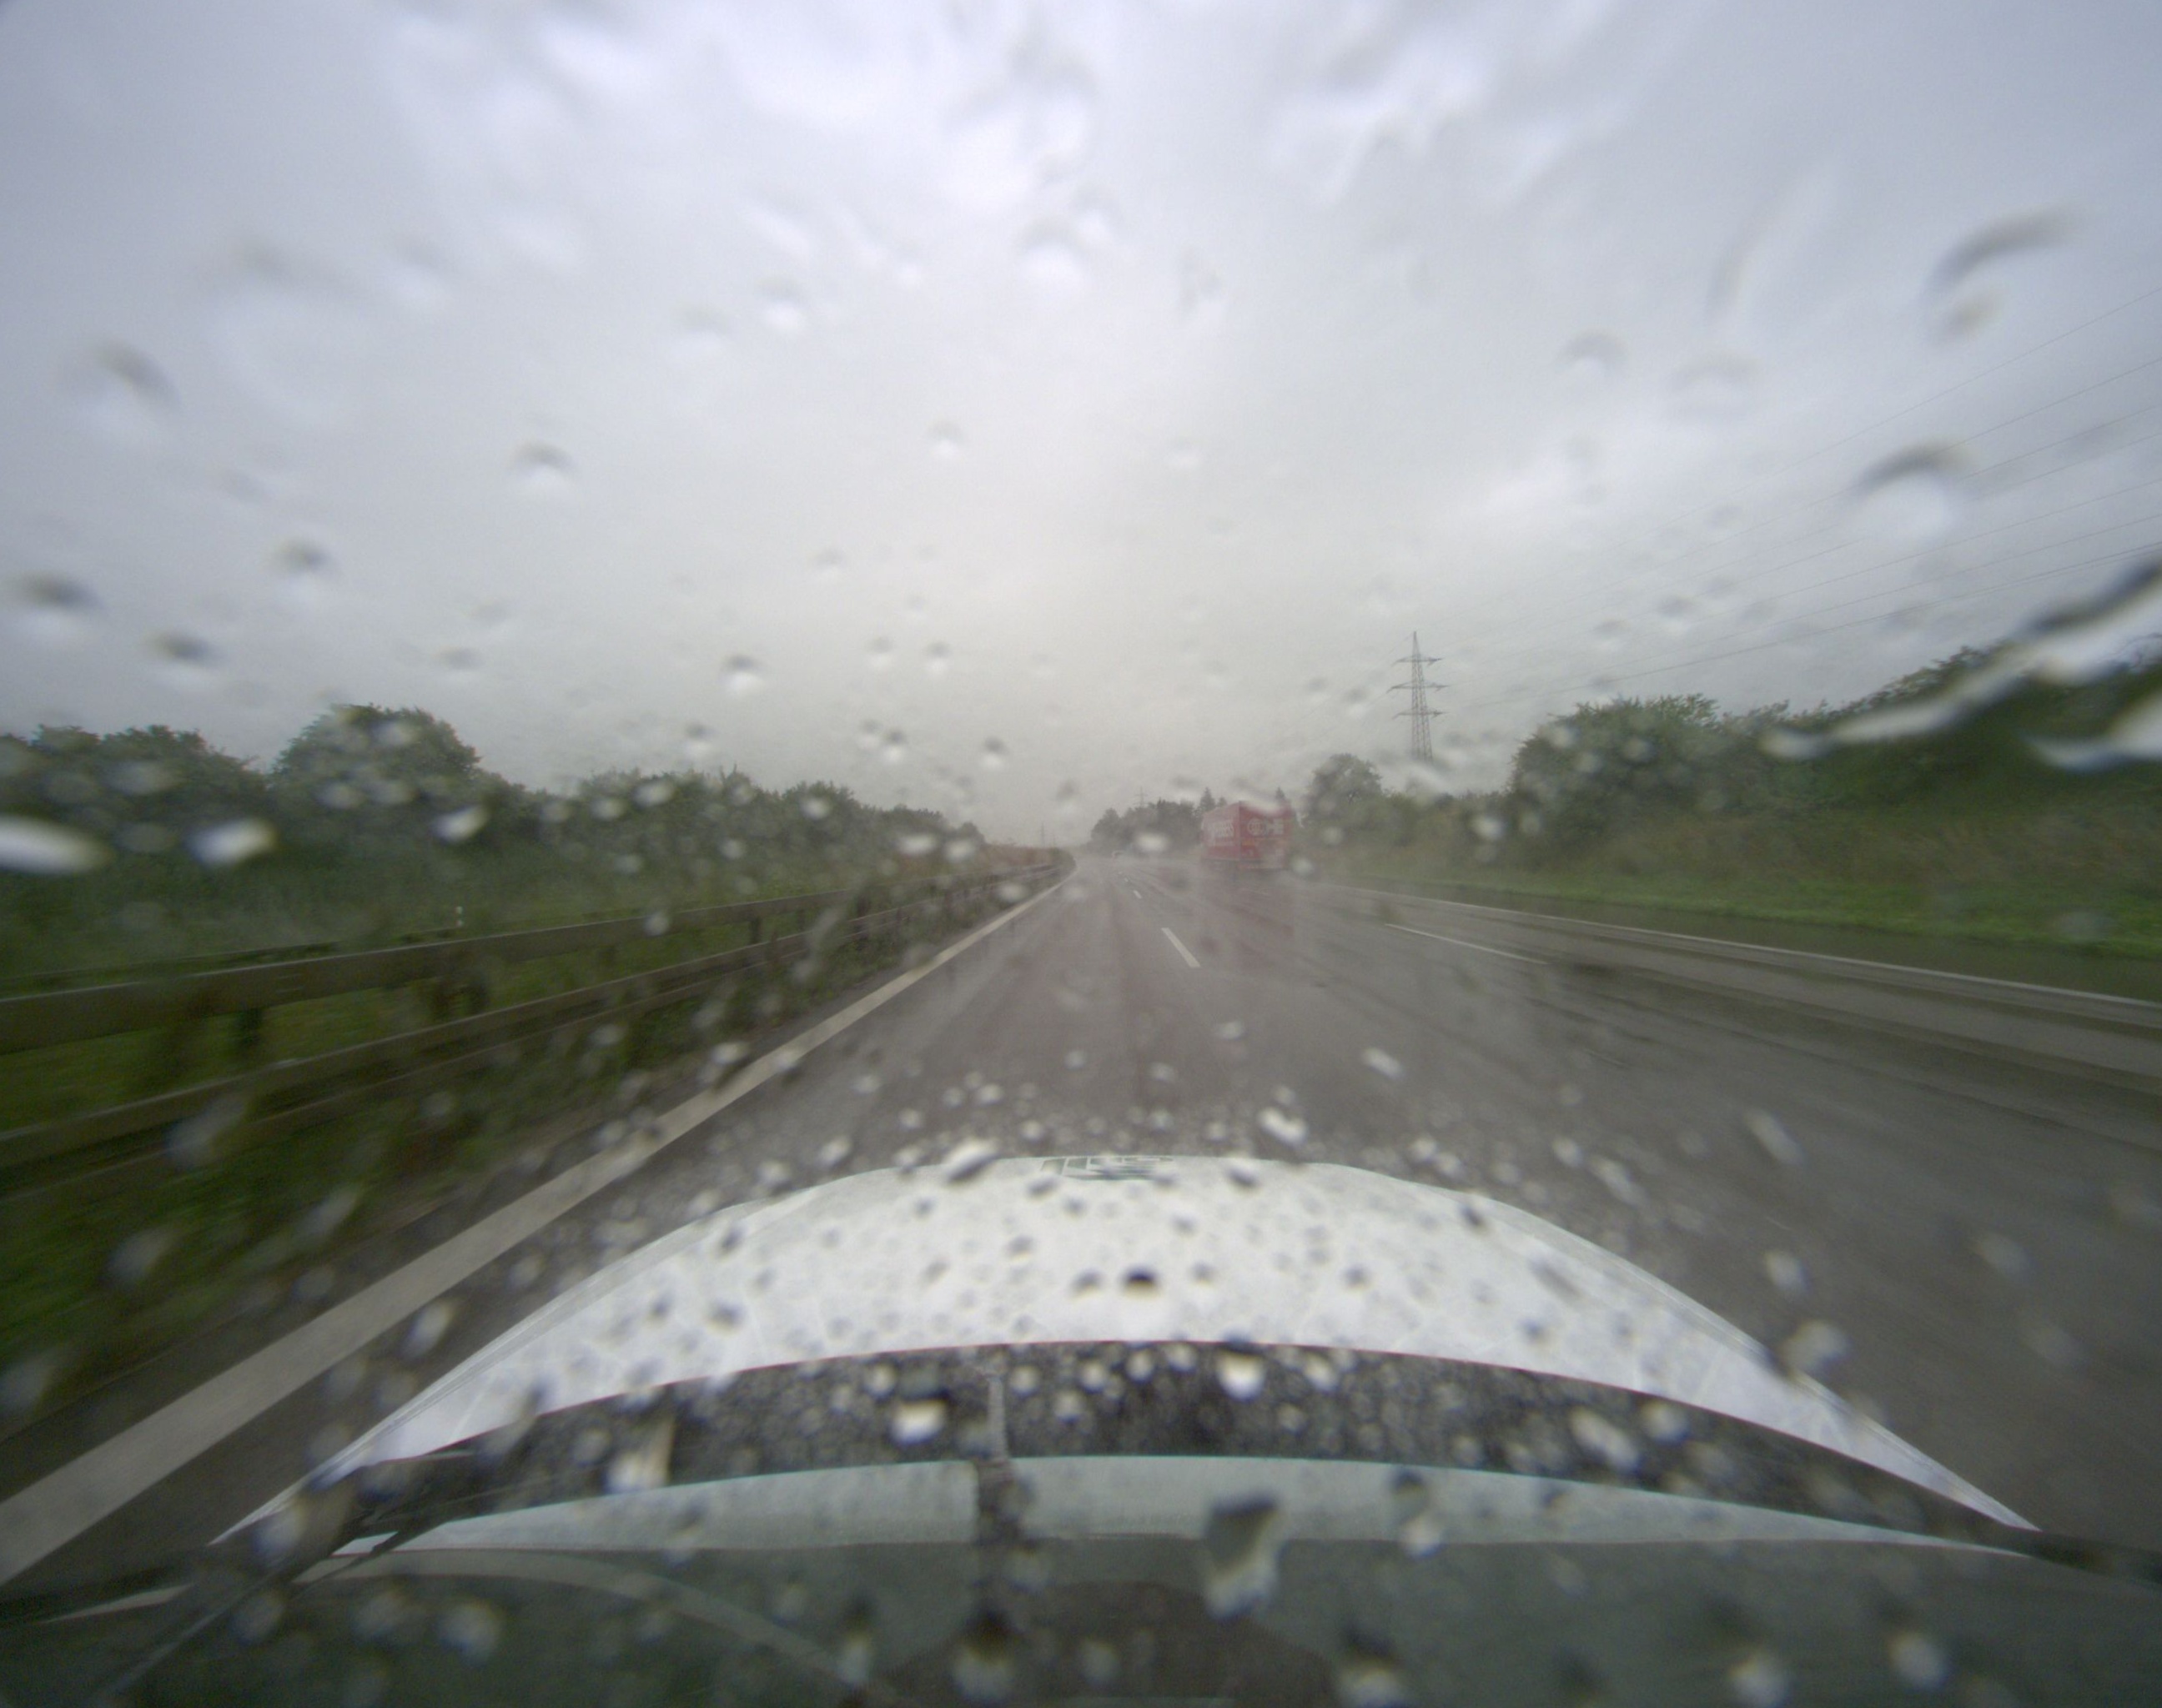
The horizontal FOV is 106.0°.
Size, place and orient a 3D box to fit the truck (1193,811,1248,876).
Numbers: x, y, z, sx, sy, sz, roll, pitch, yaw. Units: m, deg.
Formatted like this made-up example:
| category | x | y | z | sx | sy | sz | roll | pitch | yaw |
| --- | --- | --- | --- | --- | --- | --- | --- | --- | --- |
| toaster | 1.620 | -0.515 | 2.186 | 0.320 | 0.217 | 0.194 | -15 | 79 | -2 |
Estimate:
| category | x | y | z | sx | sy | sz | roll | pitch | yaw |
| --- | --- | --- | --- | --- | --- | --- | --- | --- | --- |
| truck | 9.187 | -0.658 | 54.187 | 2.611 | 3.955 | 5.434 | -4 | 0 | 1 |

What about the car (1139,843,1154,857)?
| category | x | y | z | sx | sy | sz | roll | pitch | yaw |
| --- | --- | --- | --- | --- | --- | --- | --- | --- | --- |
| car | 10.487 | -0.657 | 129.985 | 1.802 | 2.158 | 3.997 | -4 | 0 | -2 |

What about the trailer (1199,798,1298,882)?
| category | x | y | z | sx | sy | sz | roll | pitch | yaw |
| --- | --- | --- | --- | --- | --- | --- | --- | --- | --- |
| trailer | 9.143 | -0.668 | 46.487 | 2.612 | 3.955 | 13.628 | -4 | 0 | 0 |
